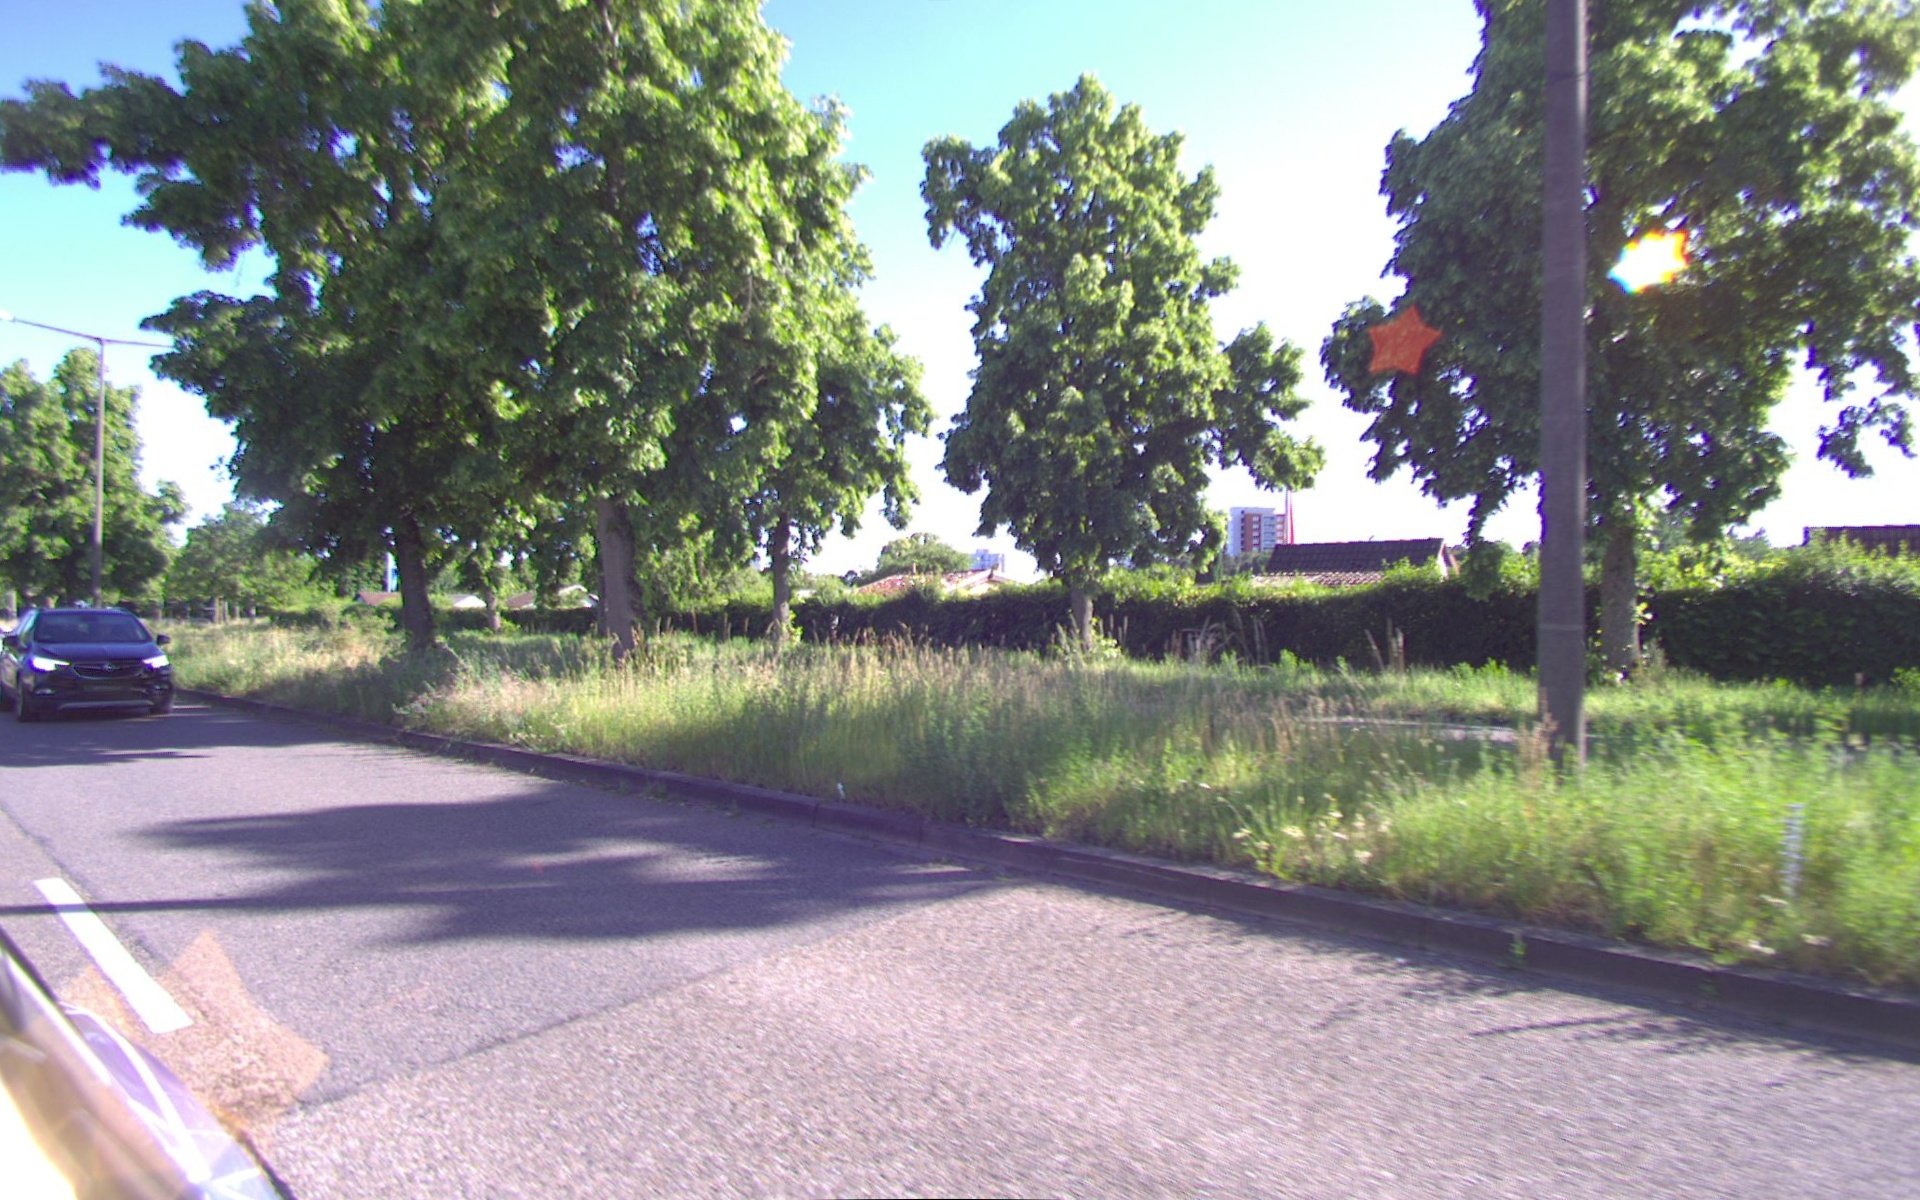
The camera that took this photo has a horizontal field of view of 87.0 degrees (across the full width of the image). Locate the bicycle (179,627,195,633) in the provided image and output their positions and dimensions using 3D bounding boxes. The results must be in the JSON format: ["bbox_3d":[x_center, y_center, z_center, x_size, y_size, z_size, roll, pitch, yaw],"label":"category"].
[{"bbox_3d":[-92.429,3.556,121.054,0.558,0.700,1.875,0,-1,-2],"label":"bicycle"}]

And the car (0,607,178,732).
[{"bbox_3d":[-13.504,0.987,15.499,3.854,1.675,1.691,-2,-2,41],"label":"car"}]

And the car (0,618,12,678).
[{"bbox_3d":[-28.050,1.349,28.342,4.090,1.626,1.807,-2,-1,41],"label":"car"}]
